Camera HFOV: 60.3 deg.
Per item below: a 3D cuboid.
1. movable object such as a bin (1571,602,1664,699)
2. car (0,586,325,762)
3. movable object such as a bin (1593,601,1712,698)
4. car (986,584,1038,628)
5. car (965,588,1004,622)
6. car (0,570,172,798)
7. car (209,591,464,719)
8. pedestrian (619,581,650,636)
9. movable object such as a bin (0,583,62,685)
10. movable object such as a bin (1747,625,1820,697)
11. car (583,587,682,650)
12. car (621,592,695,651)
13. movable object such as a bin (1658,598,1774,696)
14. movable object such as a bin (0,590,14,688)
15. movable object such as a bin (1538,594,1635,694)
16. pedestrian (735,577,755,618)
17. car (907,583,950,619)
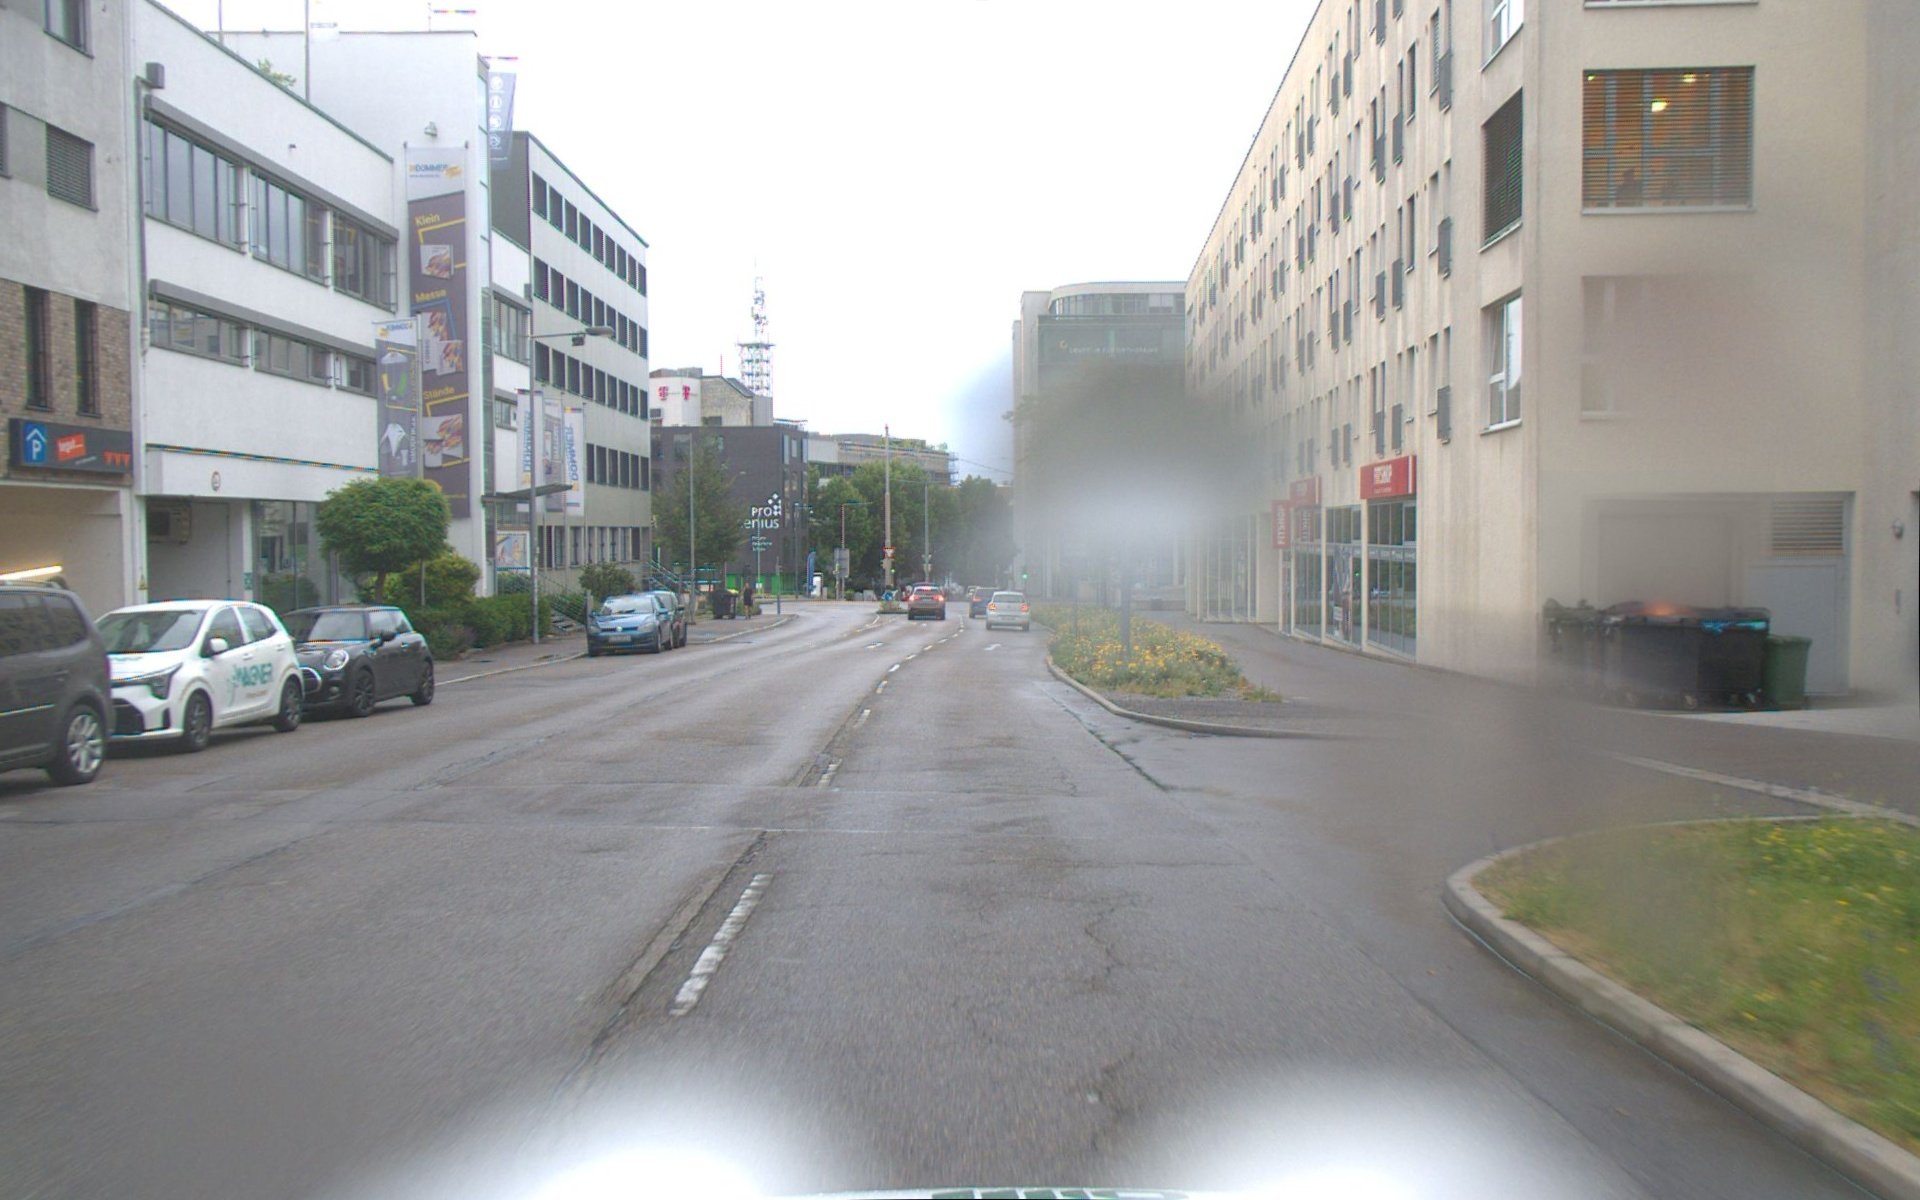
[{"bbox_3d":[9.900,0.748,24.953,1.000,1.427,1.058,0,0,1],"label":"movable object such as a bin"},{"bbox_3d":[-8.322,0.673,17.476,1.737,1.628,4.031,0,0,-1],"label":"car"},{"bbox_3d":[9.969,0.704,23.858,1.209,1.343,1.192,-1,-1,1],"label":"movable object such as a bin"},{"bbox_3d":[2.010,0.211,63.661,1.952,1.604,3.997,0,1,2],"label":"car"},{"bbox_3d":[1.289,0.250,88.645,1.953,1.780,3.672,0,0,-1],"label":"car"},{"bbox_3d":[-7.924,0.624,12.245,2.036,1.637,4.684,-1,1,-2],"label":"car"},{"bbox_3d":[-8.207,0.683,22.207,1.760,1.543,4.246,0,0,1],"label":"car"},{"bbox_3d":[-10.372,0.282,52.722,0.720,1.738,0.895,0,-1,-28],"label":"pedestrian"},{"bbox_3d":[-15.210,0.535,25.632,1.760,1.536,1.480,-2,0,-4],"label":"movable object such as a bin"},{"bbox_3d":[12.321,0.902,24.765,0.684,1.045,0.853,0,0,1],"label":"movable object such as a bin"},{"bbox_3d":[-8.215,0.457,41.811,1.876,1.507,4.353,0,0,-4],"label":"car"},{"bbox_3d":[-8.386,0.560,46.136,1.532,1.541,3.169,-2,0,-2],"label":"car"},{"bbox_3d":[11.310,0.684,24.780,1.235,1.427,1.112,0,0,1],"label":"movable object such as a bin"},{"bbox_3d":[-15.203,0.570,24.161,2.013,1.448,1.316,1,0,-5],"label":"movable object such as a bin"},{"bbox_3d":[9.842,0.681,26.014,1.149,1.529,1.014,0,0,2],"label":"movable object such as a bin"},{"bbox_3d":[-10.745,-0.122,82.602,0.943,1.989,0.776,0,-1,-13],"label":"pedestrian"},{"bbox_3d":[-1.587,0.083,83.097,2.098,1.758,3.999,0,0,-1],"label":"car"}]
